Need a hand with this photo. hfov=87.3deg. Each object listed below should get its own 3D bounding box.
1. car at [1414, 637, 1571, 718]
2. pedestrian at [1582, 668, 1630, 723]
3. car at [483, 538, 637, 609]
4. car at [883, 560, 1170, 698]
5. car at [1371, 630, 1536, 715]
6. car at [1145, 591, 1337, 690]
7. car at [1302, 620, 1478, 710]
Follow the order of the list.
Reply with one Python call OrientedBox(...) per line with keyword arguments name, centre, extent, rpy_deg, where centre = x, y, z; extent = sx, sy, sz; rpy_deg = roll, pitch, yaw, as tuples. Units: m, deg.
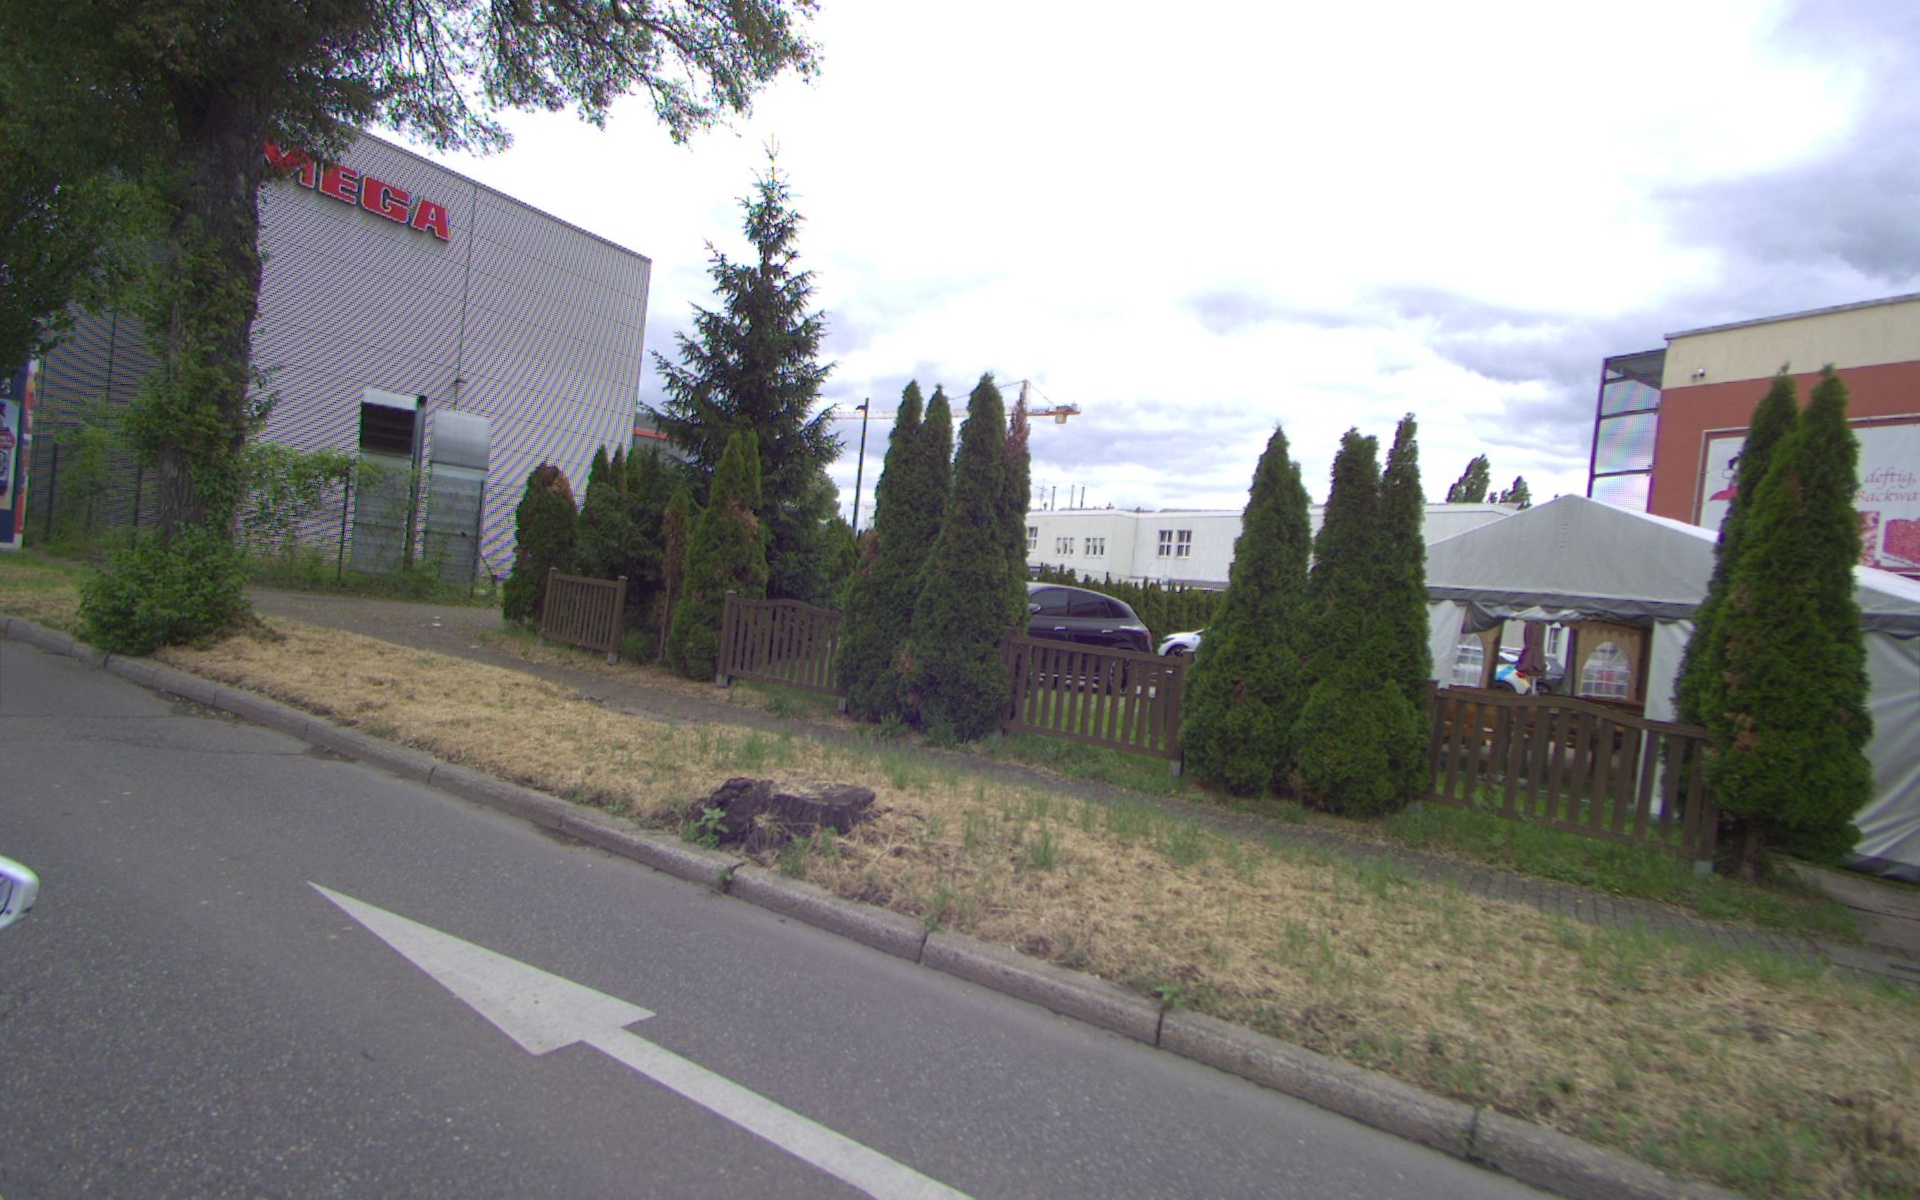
OrientedBox(name="car", centre=(16.422, 2.353, 31.072), extent=(3.936, 1.861, 1.995), rpy_deg=(7, 1, 34))
OrientedBox(name="pedestrian", centre=(18.938, 2.788, 29.513), extent=(0.709, 1.489, 0.790), rpy_deg=(7, 1, 1))
OrientedBox(name="car", centre=(-12.818, -0.862, 32.199), extent=(4.557, 1.696, 1.997), rpy_deg=(7, 0, 28))
OrientedBox(name="car", centre=(1.163, 0.512, 16.448), extent=(4.339, 1.727, 1.979), rpy_deg=(7, 0, -38))
OrientedBox(name="car", centre=(14.334, 2.064, 29.264), extent=(3.936, 1.861, 1.995), rpy_deg=(7, 1, 34))
OrientedBox(name="car", centre=(6.850, 0.969, 24.610), extent=(3.936, 1.861, 1.995), rpy_deg=(7, 1, 34))
OrientedBox(name="car", centre=(11.689, 1.739, 27.400), extent=(3.936, 1.861, 1.995), rpy_deg=(7, 1, 34))
